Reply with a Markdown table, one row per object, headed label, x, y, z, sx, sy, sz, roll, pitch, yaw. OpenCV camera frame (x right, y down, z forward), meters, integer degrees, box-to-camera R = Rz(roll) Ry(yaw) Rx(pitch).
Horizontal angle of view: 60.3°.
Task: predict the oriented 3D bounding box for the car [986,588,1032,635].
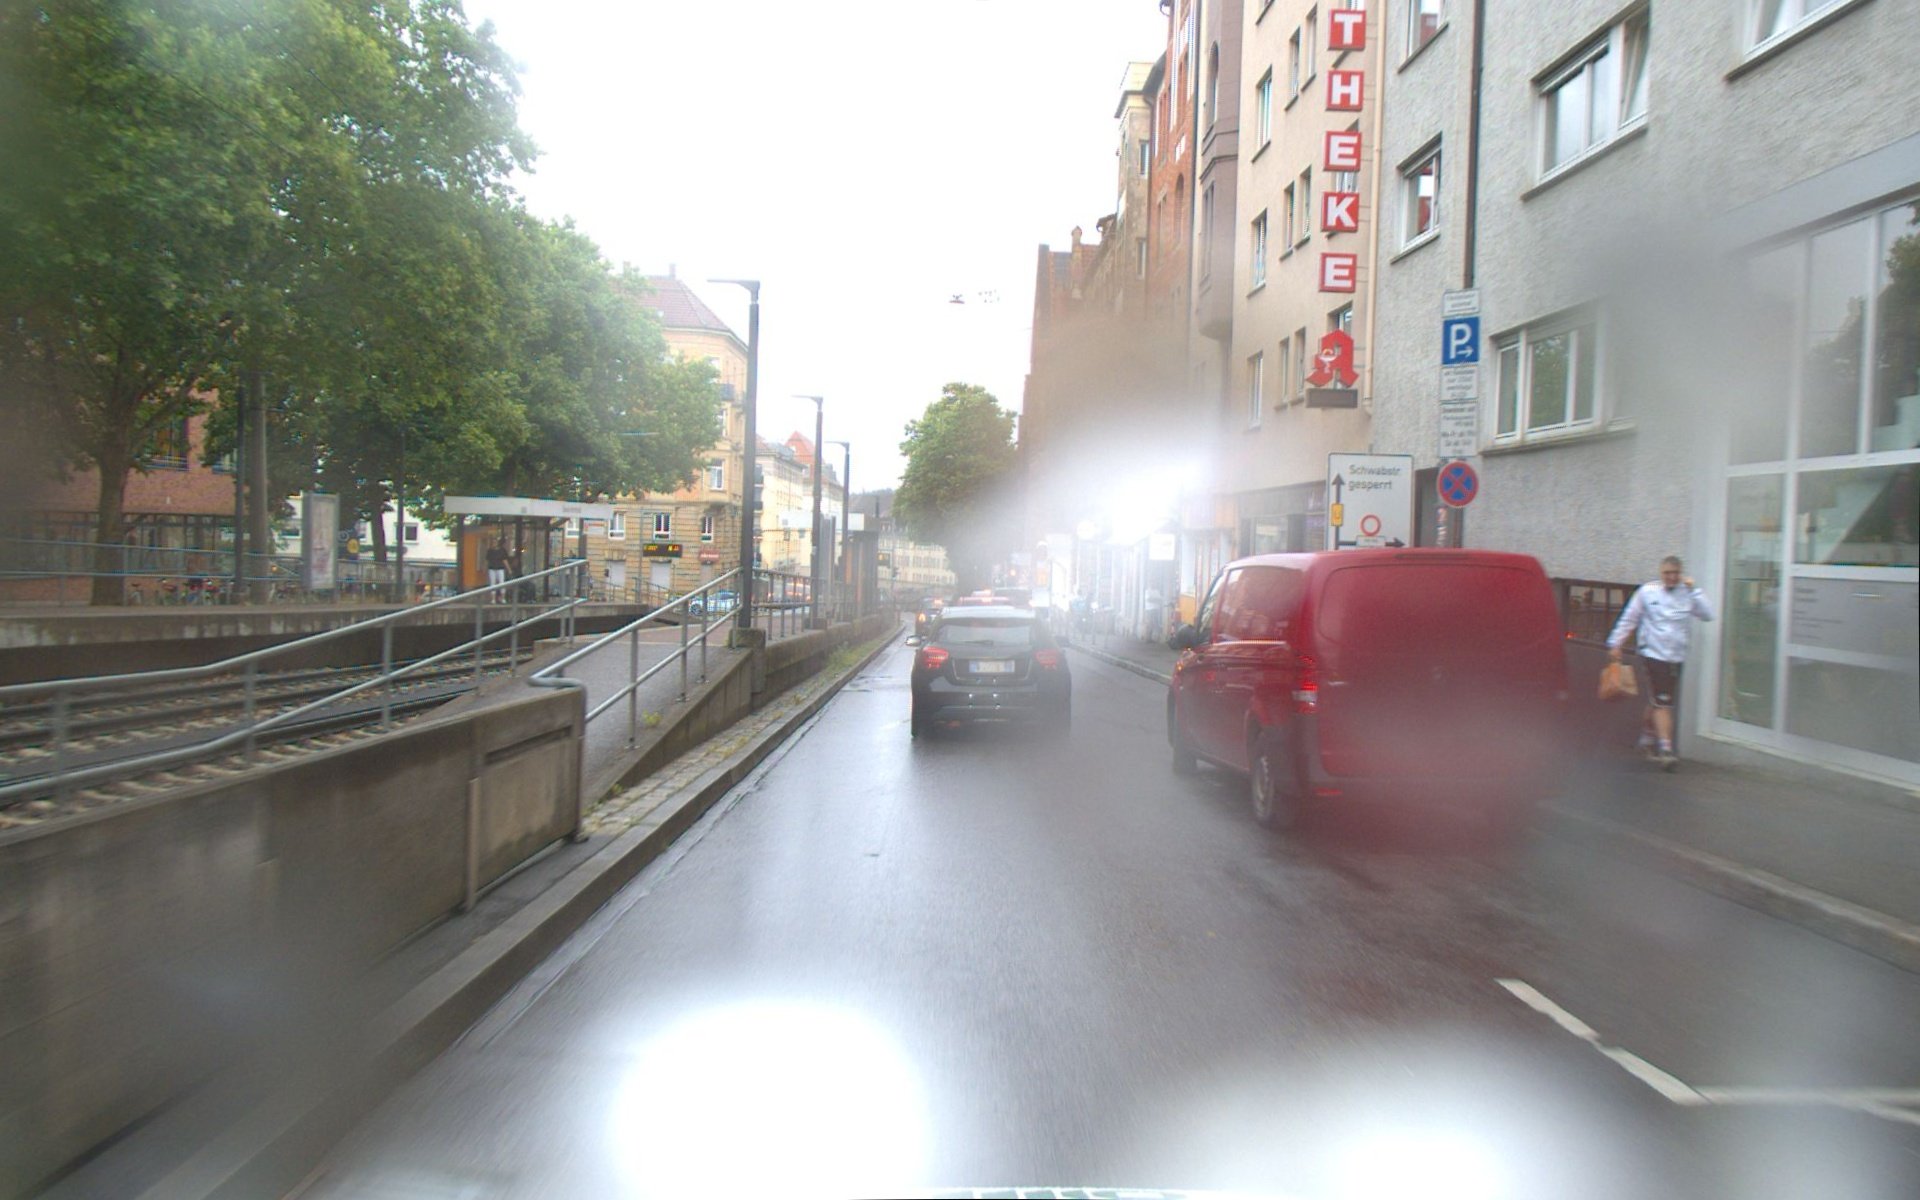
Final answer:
| label | x | y | z | sx | sy | sz | roll | pitch | yaw |
| --- | --- | --- | --- | --- | --- | --- | --- | --- | --- |
| car | 2.115 | 0.501 | 72.312 | 1.881 | 1.970 | 4.685 | 1 | -1 | 0 |

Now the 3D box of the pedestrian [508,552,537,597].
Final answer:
| label | x | y | z | sx | sy | sz | roll | pitch | yaw |
| --- | --- | --- | --- | --- | --- | --- | --- | --- | --- |
| pedestrian | -12.736 | -0.740 | 48.152 | 0.689 | 1.262 | 0.564 | 2 | 0 | -3 |

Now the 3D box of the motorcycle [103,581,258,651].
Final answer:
| label | x | y | z | sx | sy | sz | roll | pitch | yaw |
| --- | --- | --- | --- | --- | --- | --- | --- | --- | --- |
| motorcycle | -21.928 | 0.456 | 46.588 | 3.786 | 1.847 | 1.006 | 2 | -1 | -3 |

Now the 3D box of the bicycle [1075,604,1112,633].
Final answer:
| label | x | y | z | sx | sy | sz | roll | pitch | yaw |
| --- | --- | --- | --- | --- | --- | --- | --- | --- | --- |
| bicycle | 5.331 | 0.751 | 65.892 | 1.675 | 1.135 | 0.457 | 1 | -1 | -43 |

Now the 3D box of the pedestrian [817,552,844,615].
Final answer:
| label | x | y | z | sx | sy | sz | roll | pitch | yaw |
| --- | --- | --- | --- | --- | --- | --- | --- | --- | --- |
| pedestrian | -3.396 | -0.421 | 43.372 | 0.485 | 1.633 | 0.637 | 1 | -1 | 16 |

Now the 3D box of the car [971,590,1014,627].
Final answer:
| label | x | y | z | sx | sy | sz | roll | pitch | yaw |
| --- | --- | --- | --- | --- | --- | --- | --- | --- | --- |
| car | 1.706 | 0.463 | 87.868 | 1.895 | 1.863 | 4.278 | 1 | 0 | -3 |

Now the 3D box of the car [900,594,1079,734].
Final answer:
| label | x | y | z | sx | sy | sz | roll | pitch | yaw |
| --- | --- | --- | --- | --- | --- | --- | --- | --- | --- |
| car | 0.311 | 0.659 | 19.209 | 1.856 | 1.414 | 4.000 | 0 | 1 | 0 |

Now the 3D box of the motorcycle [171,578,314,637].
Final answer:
| label | x | y | z | sx | sy | sz | roll | pitch | yaw |
| --- | --- | --- | --- | --- | --- | --- | --- | --- | --- |
| motorcycle | -21.643 | 0.230 | 49.962 | 3.786 | 1.633 | 1.006 | 2 | -1 | -3 |

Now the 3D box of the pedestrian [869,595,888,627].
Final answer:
| label | x | y | z | sx | sy | sz | roll | pitch | yaw |
| --- | --- | --- | --- | --- | --- | --- | --- | --- | --- |
| pedestrian | -4.530 | 0.636 | 92.051 | 0.735 | 1.754 | 0.729 | 2 | -1 | -44 |

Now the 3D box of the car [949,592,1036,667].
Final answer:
| label | x | y | z | sx | sy | sz | roll | pitch | yaw |
| --- | --- | --- | --- | --- | --- | --- | --- | --- | --- |
| car | 0.653 | 0.612 | 35.706 | 1.646 | 1.515 | 3.611 | 1 | 0 | -3 |

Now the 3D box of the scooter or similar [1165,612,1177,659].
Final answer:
| label | x | y | z | sx | sy | sz | roll | pitch | yaw |
| --- | --- | --- | --- | --- | --- | --- | --- | --- | --- |
| scooter or similar | 5.614 | 0.931 | 43.949 | 0.252 | 1.243 | 1.195 | 1 | 0 | 9 |

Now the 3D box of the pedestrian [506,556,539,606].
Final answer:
| label | x | y | z | sx | sy | sz | roll | pitch | yaw |
| --- | --- | --- | --- | --- | --- | --- | --- | --- | --- |
| pedestrian | -12.569 | -0.546 | 47.503 | 0.762 | 1.386 | 0.564 | 2 | 0 | -3 |

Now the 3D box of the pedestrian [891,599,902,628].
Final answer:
| label | x | y | z | sx | sy | sz | roll | pitch | yaw |
| --- | --- | --- | --- | --- | --- | --- | --- | --- | --- |
| pedestrian | -3.521 | 0.754 | 92.054 | 0.521 | 1.557 | 0.436 | 1 | -1 | -9 |

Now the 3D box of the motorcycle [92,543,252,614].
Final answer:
| label | x | y | z | sx | sy | sz | roll | pitch | yaw |
| --- | --- | --- | --- | --- | --- | --- | --- | --- | --- |
| motorcycle | -21.503 | -0.577 | 45.203 | 3.786 | 1.805 | 1.006 | 2 | -1 | -3 |

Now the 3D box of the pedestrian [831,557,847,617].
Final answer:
| label | x | y | z | sx | sy | sz | roll | pitch | yaw |
| --- | --- | --- | --- | --- | --- | --- | --- | --- | --- |
| pedestrian | -3.338 | -0.365 | 45.505 | 0.401 | 1.633 | 0.450 | 1 | -1 | -7 |

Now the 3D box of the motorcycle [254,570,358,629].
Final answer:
| label | x | y | z | sx | sy | sz | roll | pitch | yaw |
| --- | --- | --- | --- | --- | --- | --- | --- | --- | --- |
| motorcycle | -21.682 | -0.014 | 54.878 | 2.975 | 1.847 | 0.993 | 2 | -1 | -2 |

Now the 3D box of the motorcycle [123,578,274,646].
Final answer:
| label | x | y | z | sx | sy | sz | roll | pitch | yaw |
| --- | --- | --- | --- | --- | --- | --- | --- | --- | --- |
| motorcycle | -21.943 | 0.345 | 47.737 | 3.786 | 1.847 | 1.006 | 2 | -1 | -3 |

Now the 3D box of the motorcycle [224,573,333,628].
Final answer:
| label | x | y | z | sx | sy | sz | roll | pitch | yaw |
| --- | --- | --- | --- | --- | --- | --- | --- | --- | --- |
| motorcycle | -21.872 | 0.033 | 53.130 | 2.997 | 1.656 | 1.006 | 2 | -1 | -2 |

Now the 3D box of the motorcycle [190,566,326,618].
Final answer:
| label | x | y | z | sx | sy | sz | roll | pitch | yaw |
| --- | --- | --- | --- | --- | --- | --- | --- | --- | --- |
| motorcycle | -22.028 | -0.247 | 51.963 | 3.786 | 1.514 | 1.006 | 2 | -1 | -3 |

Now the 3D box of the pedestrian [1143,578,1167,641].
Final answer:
| label | x | y | z | sx | sy | sz | roll | pitch | yaw |
| --- | --- | --- | --- | --- | --- | --- | --- | --- | --- |
| pedestrian | 5.797 | 0.288 | 49.157 | 0.566 | 1.862 | 0.563 | -2 | -1 | -3 |

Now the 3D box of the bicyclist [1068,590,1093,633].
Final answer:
| label | x | y | z | sx | sy | sz | roll | pitch | yaw |
| --- | --- | --- | --- | --- | --- | --- | --- | --- | --- |
| bicyclist | 4.823 | 0.460 | 66.105 | 0.843 | 1.686 | 0.622 | 1 | -1 | -43 |

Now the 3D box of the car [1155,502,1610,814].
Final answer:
| label | x | y | z | sx | sy | sz | roll | pitch | yaw |
| --- | --- | --- | --- | --- | --- | --- | --- | --- | --- |
| car | 2.886 | 0.381 | 12.683 | 1.935 | 1.870 | 5.242 | 1 | -1 | -3 |

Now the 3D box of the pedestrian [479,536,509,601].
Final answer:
| label | x | y | z | sx | sy | sz | roll | pitch | yaw |
| --- | --- | --- | --- | --- | --- | --- | --- | --- | --- |
| pedestrian | -12.609 | -0.851 | 44.764 | 0.551 | 1.745 | 0.705 | 2 | 0 | -3 |

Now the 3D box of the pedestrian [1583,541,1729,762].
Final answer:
| label | x | y | z | sx | sy | sz | roll | pitch | yaw |
| --- | --- | --- | --- | --- | --- | --- | --- | --- | --- |
| pedestrian | 5.881 | 0.423 | 14.021 | 0.834 | 1.788 | 0.837 | 2 | 0 | 0 |

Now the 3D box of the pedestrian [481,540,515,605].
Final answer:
| label | x | y | z | sx | sy | sz | roll | pitch | yaw |
| --- | --- | --- | --- | --- | --- | --- | --- | --- | --- |
| pedestrian | -12.054 | -0.721 | 43.156 | 0.672 | 1.670 | 0.564 | 2 | 0 | -3 |
